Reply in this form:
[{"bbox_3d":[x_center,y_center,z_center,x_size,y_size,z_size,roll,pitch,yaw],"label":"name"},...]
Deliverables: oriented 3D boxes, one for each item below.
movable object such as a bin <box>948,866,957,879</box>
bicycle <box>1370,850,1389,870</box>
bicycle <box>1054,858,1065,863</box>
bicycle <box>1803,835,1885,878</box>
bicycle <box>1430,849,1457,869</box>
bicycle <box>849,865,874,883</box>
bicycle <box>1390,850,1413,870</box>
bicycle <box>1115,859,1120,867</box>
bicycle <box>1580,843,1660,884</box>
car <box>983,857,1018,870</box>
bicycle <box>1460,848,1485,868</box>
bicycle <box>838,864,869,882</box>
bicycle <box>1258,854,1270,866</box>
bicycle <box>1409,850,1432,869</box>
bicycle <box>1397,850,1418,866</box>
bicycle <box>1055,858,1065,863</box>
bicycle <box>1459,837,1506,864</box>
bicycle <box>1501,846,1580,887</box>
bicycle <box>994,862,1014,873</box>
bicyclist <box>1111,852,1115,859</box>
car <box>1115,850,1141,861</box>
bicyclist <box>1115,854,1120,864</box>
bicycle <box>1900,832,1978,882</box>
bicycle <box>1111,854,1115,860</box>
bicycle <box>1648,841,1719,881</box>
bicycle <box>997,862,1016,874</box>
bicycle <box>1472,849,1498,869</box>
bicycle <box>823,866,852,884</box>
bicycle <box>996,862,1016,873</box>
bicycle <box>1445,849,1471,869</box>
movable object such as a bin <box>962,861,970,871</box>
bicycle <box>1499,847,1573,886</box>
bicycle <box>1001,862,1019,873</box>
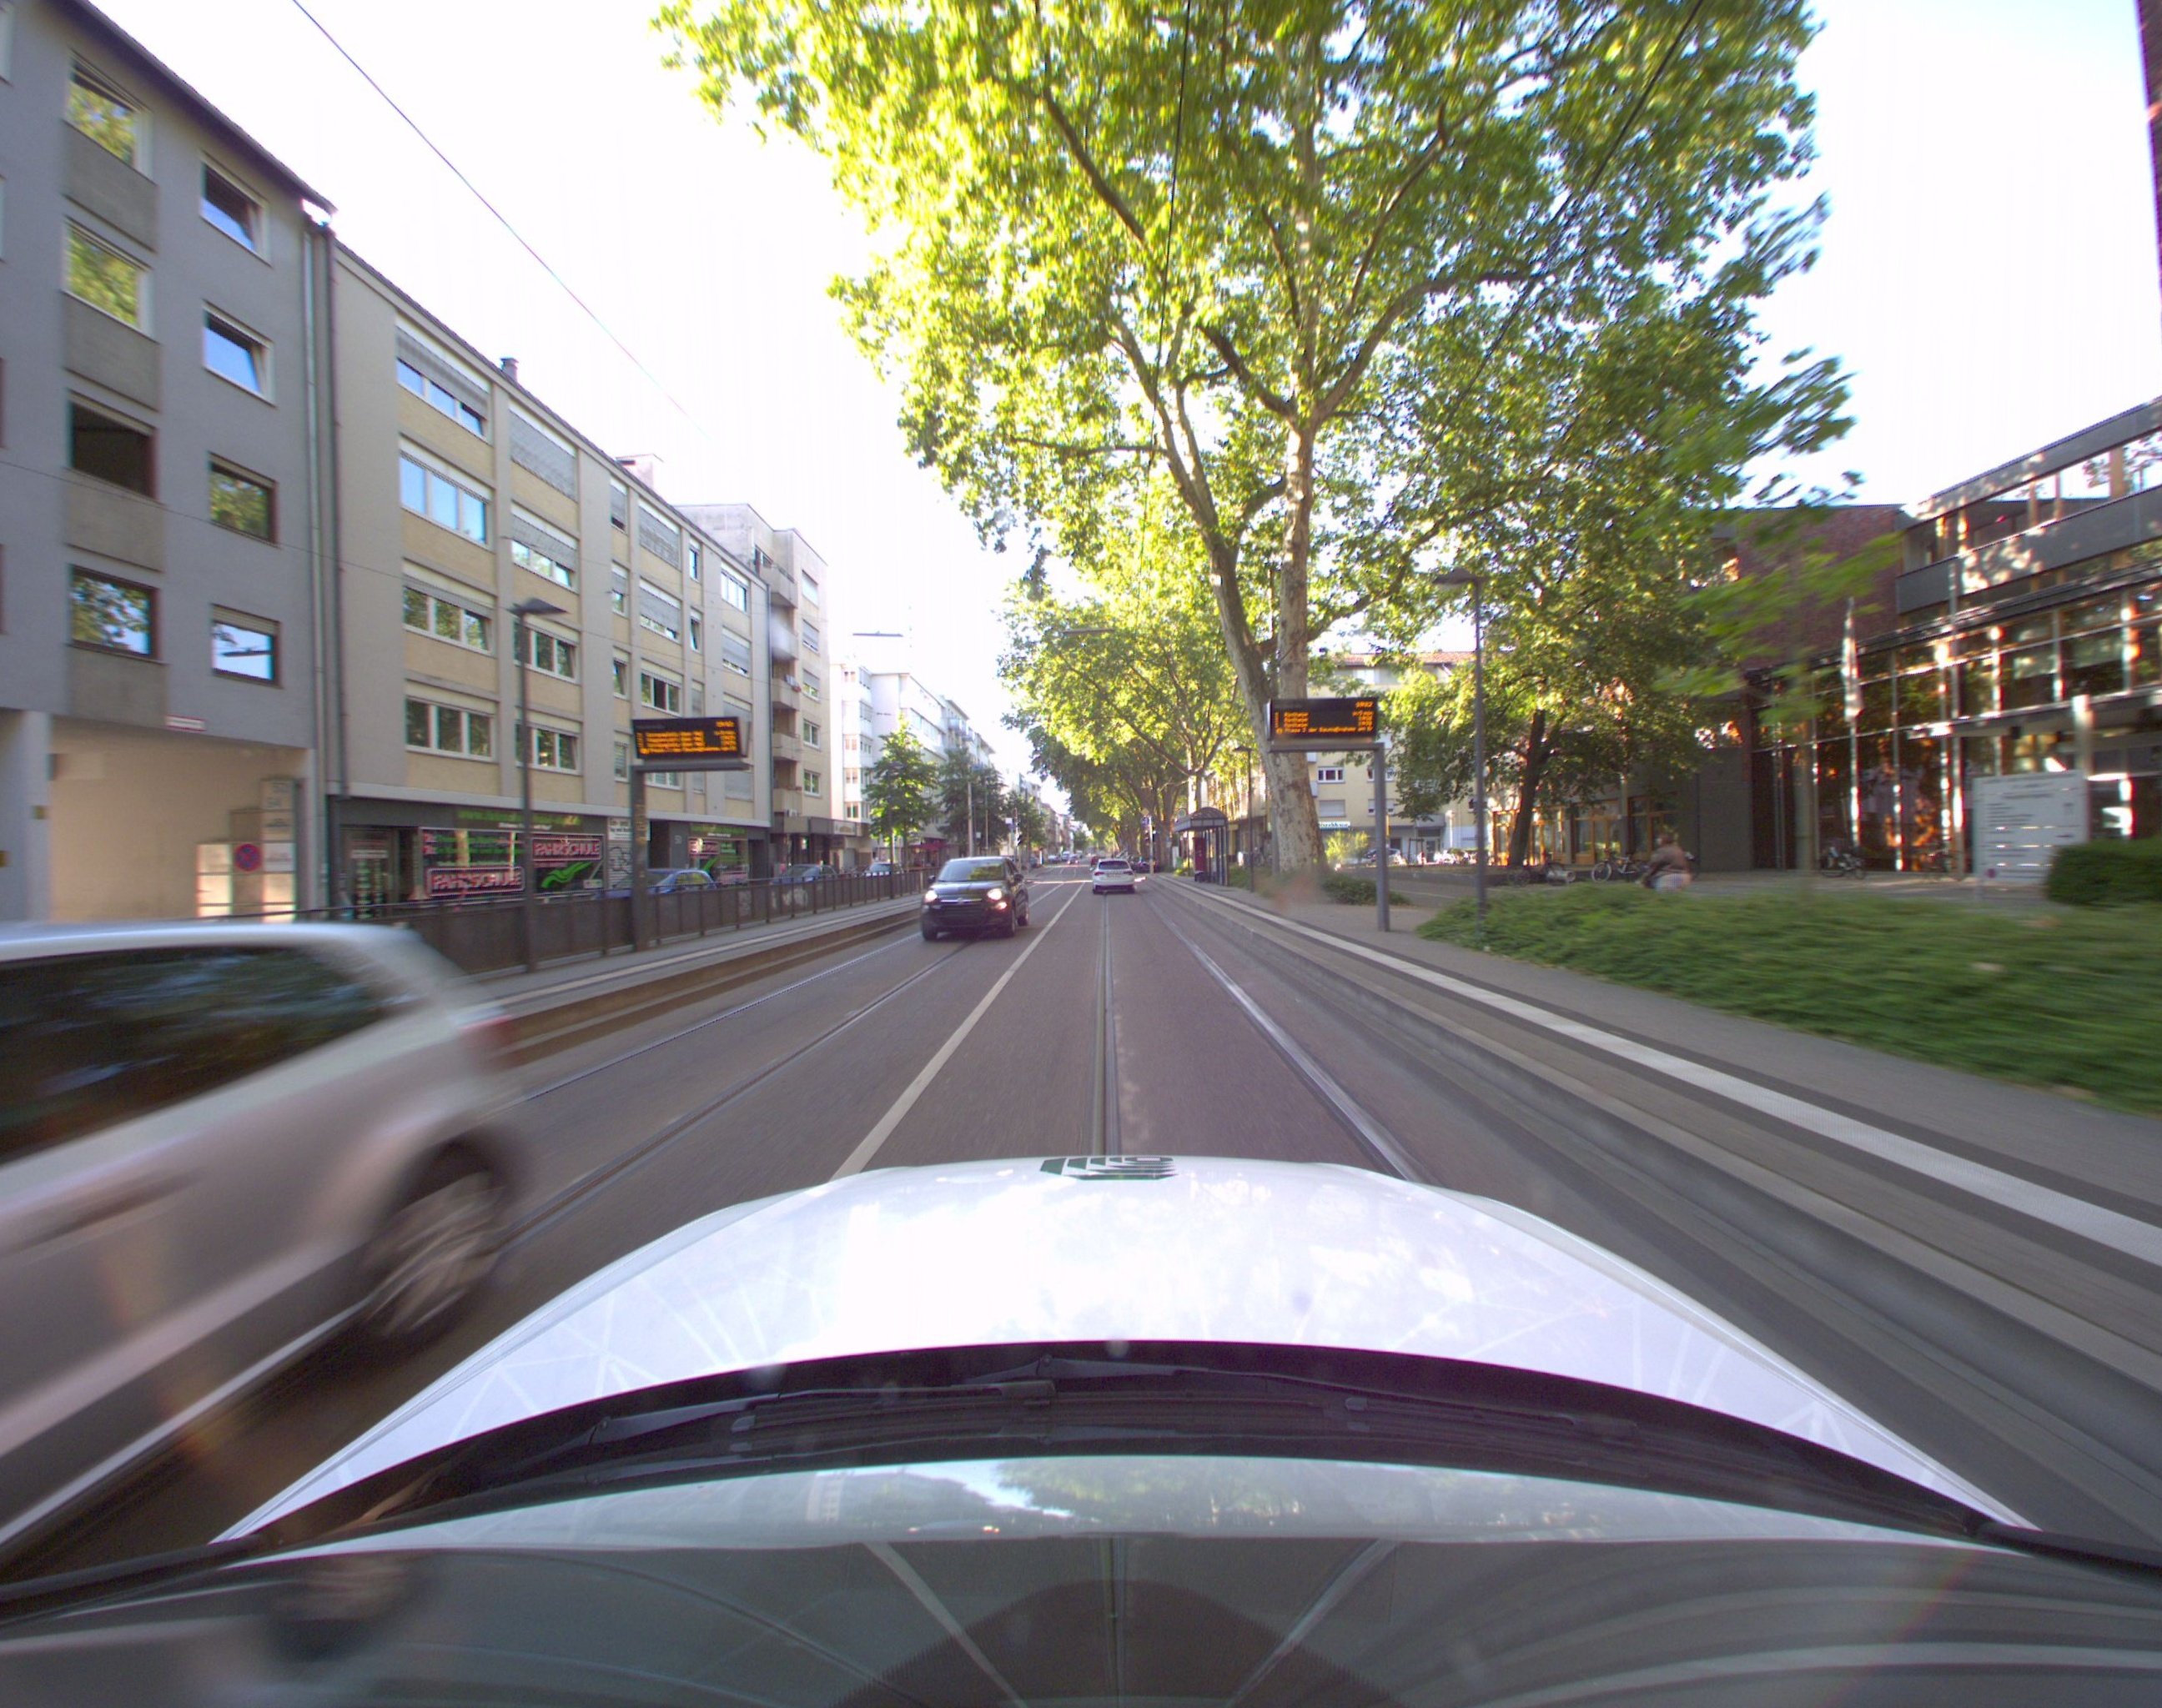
[{"bbox_3d":[-9.866,1.415,62.488,0.539,0.932,0.647,-2,0,-16],"label":"movable object such as a bin"},{"bbox_3d":[18.352,0.359,50.080,0.597,1.156,1.700,-3,0,4],"label":"bicycle"},{"bbox_3d":[-5.154,1.487,196.255,2.545,1.172,0.873,2,-2,-38],"label":"bicycle"},{"bbox_3d":[22.007,0.066,23.535,0.701,1.156,2.044,-3,0,11],"label":"bicycle"},{"bbox_3d":[21.958,0.326,49.399,0.727,1.156,2.051,-3,0,2],"label":"bicycle"},{"bbox_3d":[-14.839,1.375,55.099,1.766,1.156,0.576,-2,0,32],"label":"bicycle"},{"bbox_3d":[19.430,0.342,49.436,0.598,1.156,1.696,-3,0,-3],"label":"bicycle"},{"bbox_3d":[5.111,1.215,113.387,0.679,1.071,1.782,-2,0,2],"label":"bicycle"},{"bbox_3d":[16.916,0.306,25.595,2.020,1.156,0.573,-3,-1,6],"label":"bicycle"},{"bbox_3d":[-9.582,1.169,97.438,4.001,1.475,1.850,0,-1,-2],"label":"car"},{"bbox_3d":[23.752,0.243,49.422,0.659,1.156,1.698,-3,0,1],"label":"bicycle"},{"bbox_3d":[-15.144,1.262,54.220,1.849,1.156,0.573,-2,0,5],"label":"bicycle"},{"bbox_3d":[16.959,0.559,75.309,0.569,0.997,1.778,-3,0,-3],"label":"bicycle"},{"bbox_3d":[20.678,0.333,49.652,0.633,1.156,1.984,-3,0,4],"label":"bicycle"},{"bbox_3d":[26.291,0.308,65.587,1.704,1.156,0.595,-3,0,-33],"label":"bicycle"},{"bbox_3d":[-5.077,1.484,196.876,2.520,1.172,0.718,1,-2,-5],"label":"bicycle"},{"bbox_3d":[19.297,-0.170,39.181,1.913,1.156,0.575,-3,-1,17],"label":"bicycle"},{"bbox_3d":[14.401,0.392,25.565,2.018,1.156,0.574,-3,-1,11],"label":"bicycle"},{"bbox_3d":[-7.140,1.260,75.288,1.825,1.007,0.657,0,-1,-4],"label":"bicycle"},{"bbox_3d":[5.913,0.284,152.526,0.647,1.344,0.934,-2,0,0],"label":"bicyclist"},{"bbox_3d":[11.471,0.373,197.884,6.111,2.635,2.528,-1,0,-1],"label":"car"},{"bbox_3d":[5.093,0.718,113.439,0.676,1.443,1.047,-2,0,2],"label":"bicyclist"},{"bbox_3d":[21.725,0.079,20.623,1.953,1.156,0.727,-3,-1,-25],"label":"bicycle"},{"bbox_3d":[5.927,0.590,152.511,0.647,1.071,1.583,-2,0,0],"label":"bicycle"},{"bbox_3d":[18.870,0.218,25.519,1.669,1.156,0.573,-3,-1,6],"label":"bicycle"},{"bbox_3d":[-6.737,1.249,73.356,1.687,1.007,0.657,0,-1,-4],"label":"bicycle"},{"bbox_3d":[24.476,0.304,49.369,0.659,1.156,1.698,-3,0,1],"label":"bicycle"},{"bbox_3d":[-16.479,1.404,55.051,1.772,1.156,0.574,-2,0,12],"label":"bicycle"},{"bbox_3d":[-7.063,1.288,77.066,1.825,1.007,0.657,0,-1,-4],"label":"bicycle"},{"bbox_3d":[22.907,0.317,49.514,0.659,1.156,1.851,-3,0,1],"label":"bicycle"},{"bbox_3d":[-12.731,1.322,90.304,0.675,1.055,0.622,-2,0,3],"label":"movable object such as a bin"},{"bbox_3d":[14.755,0.407,26.439,2.023,1.156,0.572,-3,-1,1],"label":"bicycle"},{"bbox_3d":[-6.805,1.299,78.415,1.687,1.007,0.657,0,-1,-4],"label":"bicycle"}]
